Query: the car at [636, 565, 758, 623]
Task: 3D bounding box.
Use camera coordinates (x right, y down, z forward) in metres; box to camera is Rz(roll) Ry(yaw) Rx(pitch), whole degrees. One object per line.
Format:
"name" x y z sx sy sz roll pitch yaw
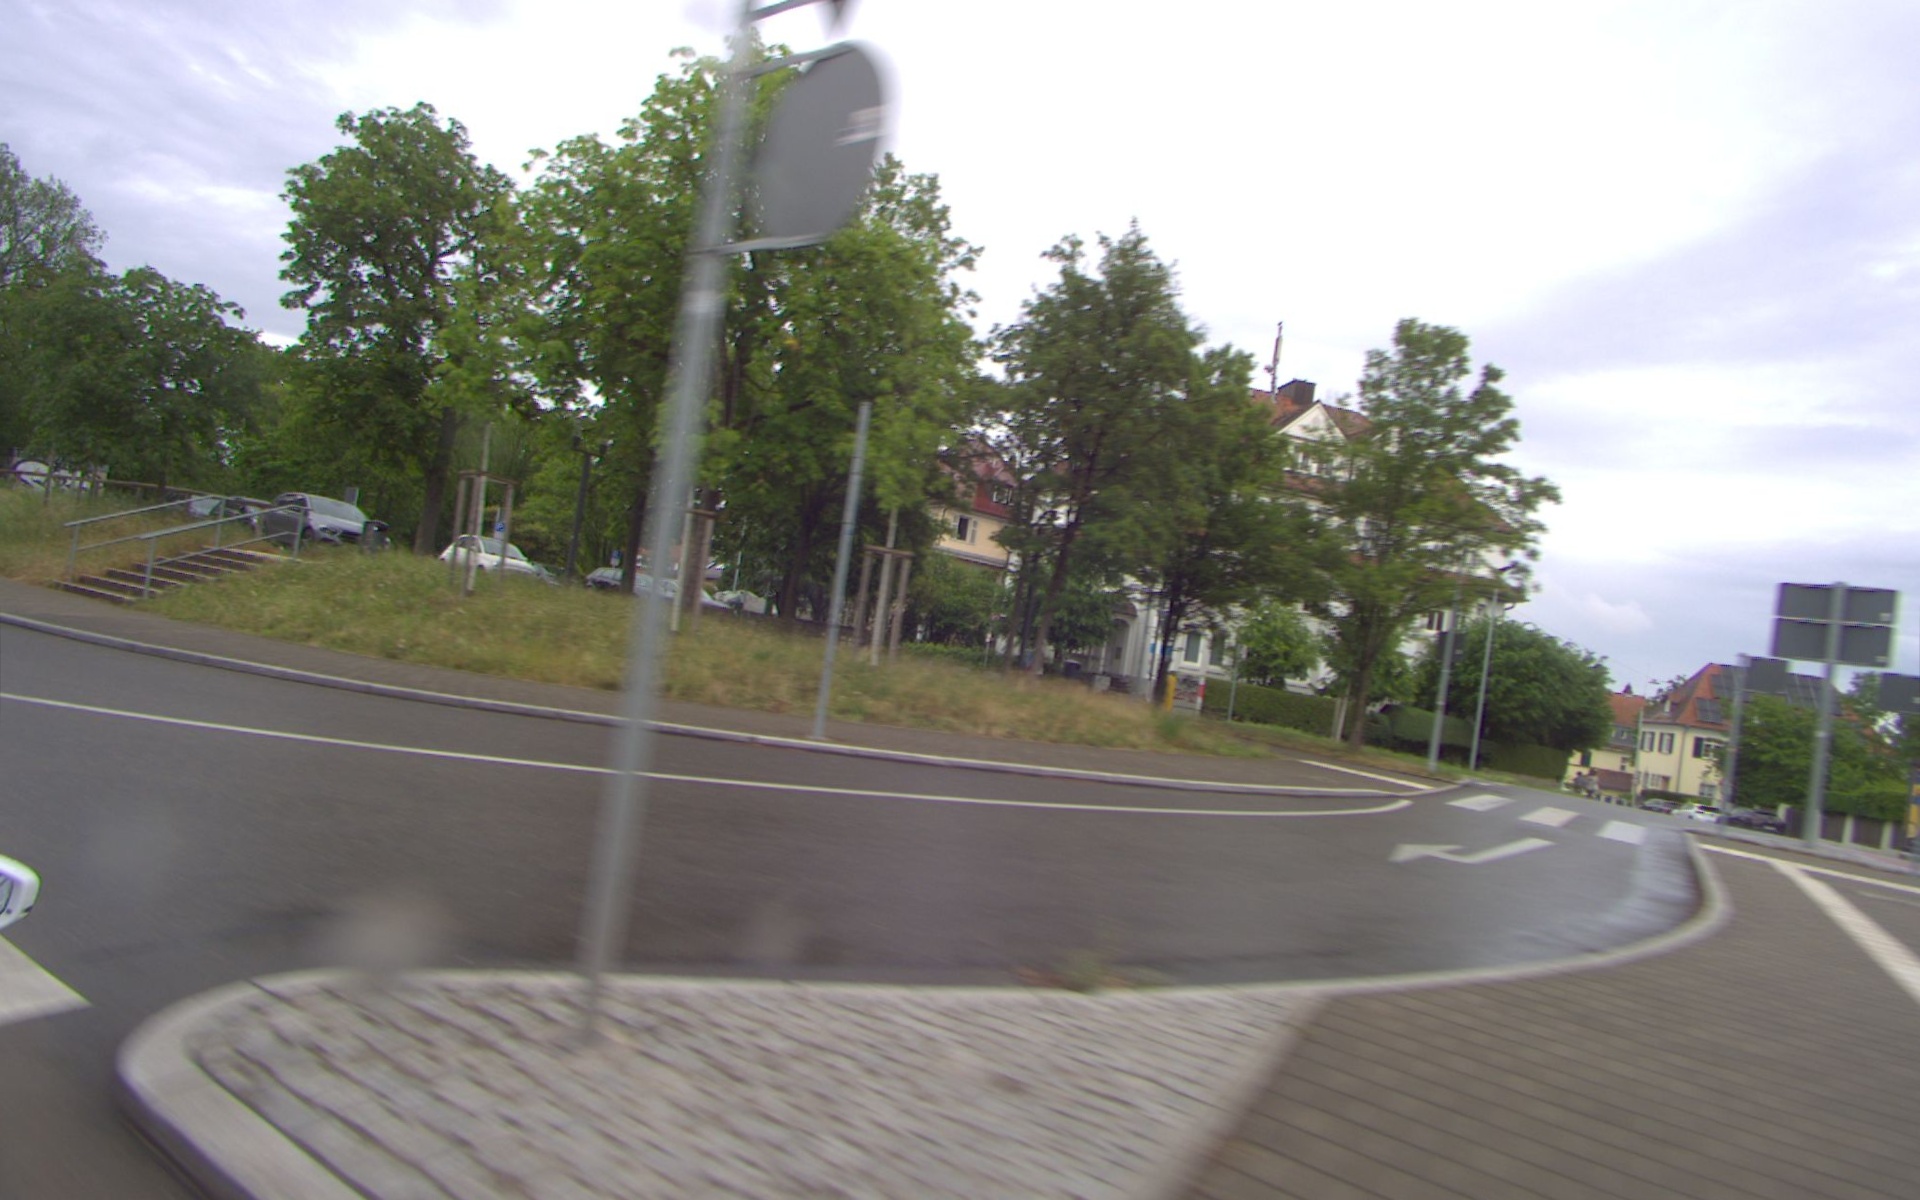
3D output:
"car" -9.457 -0.218 36.074 4.004 1.494 1.891 5 -6 34

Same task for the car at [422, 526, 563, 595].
"car" -13.978 -1.201 30.010 4.005 1.494 1.890 5 -6 35

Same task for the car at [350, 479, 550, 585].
"car" -11.471 -1.547 22.611 3.932 1.678 2.002 7 -5 31

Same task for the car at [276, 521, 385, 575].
"car" -23.575 -1.962 37.646 4.005 1.494 1.890 5 -6 35

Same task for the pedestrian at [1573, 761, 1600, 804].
"pedestrian" 29.370 8.534 47.152 0.807 1.855 0.696 7 -5 24

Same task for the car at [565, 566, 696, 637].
"car" -11.179 0.037 34.075 3.936 1.678 2.000 7 -6 34

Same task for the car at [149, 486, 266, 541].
"car" -27.537 -3.176 36.786 4.708 1.494 1.890 5 -6 35

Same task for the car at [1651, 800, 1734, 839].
"car" 43.633 13.053 60.057 1.962 1.494 5.478 8 -5 15

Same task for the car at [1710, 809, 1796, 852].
"car" 41.493 12.044 52.753 1.962 1.494 4.012 8 -5 15

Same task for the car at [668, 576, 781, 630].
"car" -9.111 0.104 38.879 4.004 1.494 1.891 5 -6 34

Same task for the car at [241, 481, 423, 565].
"car" -15.796 -1.943 25.277 4.213 1.494 2.001 6 -6 31
